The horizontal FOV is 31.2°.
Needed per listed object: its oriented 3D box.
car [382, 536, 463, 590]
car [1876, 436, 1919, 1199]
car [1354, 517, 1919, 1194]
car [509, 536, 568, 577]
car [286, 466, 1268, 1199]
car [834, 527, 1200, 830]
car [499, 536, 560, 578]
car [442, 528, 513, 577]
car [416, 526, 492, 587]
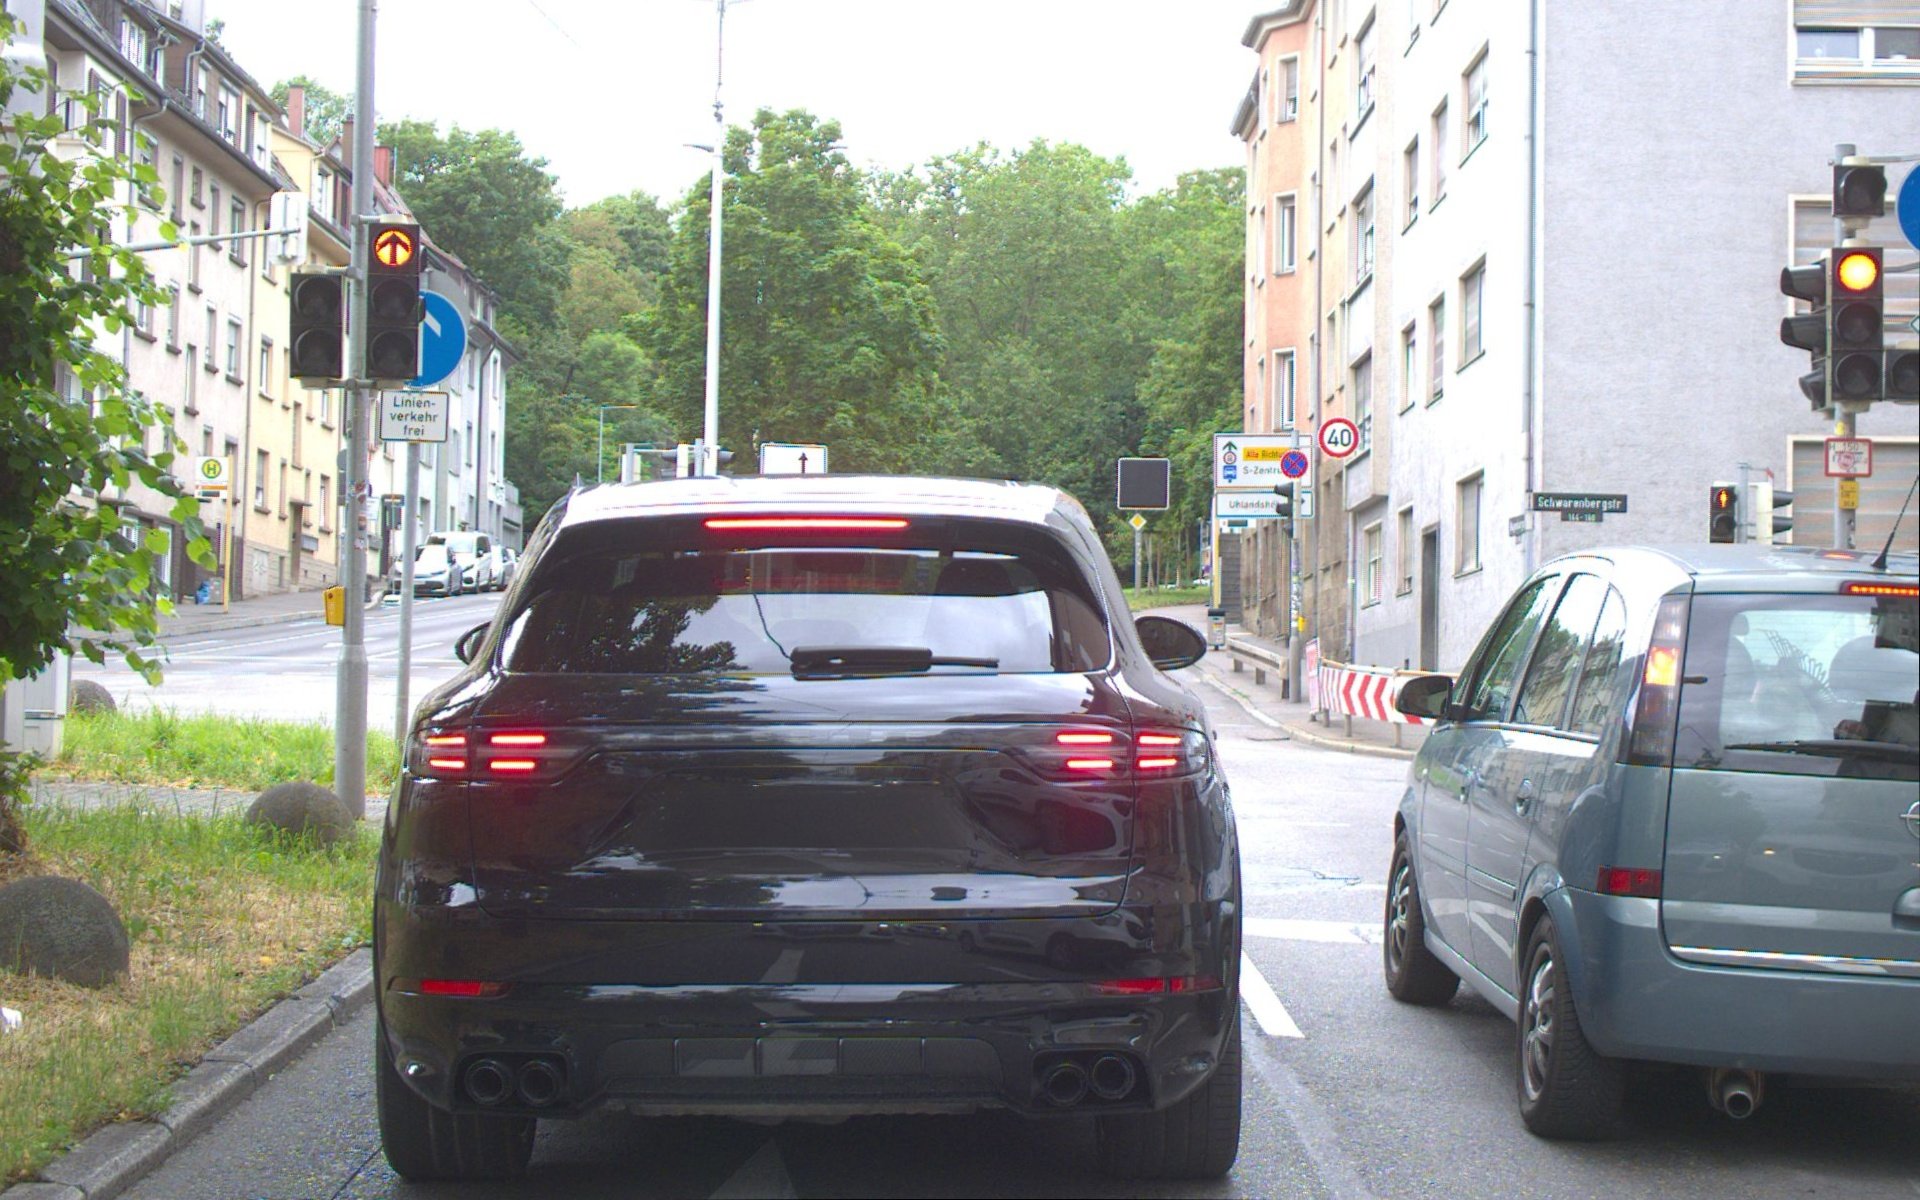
[{"bbox_3d":[-15.729,-1.103,100.781,1.794,1.505,4.000,1,1,-1],"label":"car"},{"bbox_3d":[2.452,0.623,3.774,1.850,1.819,5.019,2,-1,4],"label":"car"},{"bbox_3d":[2.349,0.631,10.162,1.752,1.588,3.631,4,1,-2],"label":"car"},{"bbox_3d":[-16.178,-1.696,132.085,1.794,1.505,4.000,1,1,-1],"label":"car"},{"bbox_3d":[-0.346,0.509,9.008,1.994,1.647,4.000,0,1,1],"label":"car"},{"bbox_3d":[0.345,0.420,20.861,1.994,1.647,4.000,0,0,1],"label":"car"},{"bbox_3d":[-15.897,-1.604,127.188,1.794,1.505,4.000,1,1,-1],"label":"car"},{"bbox_3d":[-15.560,-1.552,111.031,1.794,1.505,4.000,1,1,-1],"label":"car"},{"bbox_3d":[-15.549,-1.358,105.803,1.794,1.804,4.000,1,1,-1],"label":"car"}]
